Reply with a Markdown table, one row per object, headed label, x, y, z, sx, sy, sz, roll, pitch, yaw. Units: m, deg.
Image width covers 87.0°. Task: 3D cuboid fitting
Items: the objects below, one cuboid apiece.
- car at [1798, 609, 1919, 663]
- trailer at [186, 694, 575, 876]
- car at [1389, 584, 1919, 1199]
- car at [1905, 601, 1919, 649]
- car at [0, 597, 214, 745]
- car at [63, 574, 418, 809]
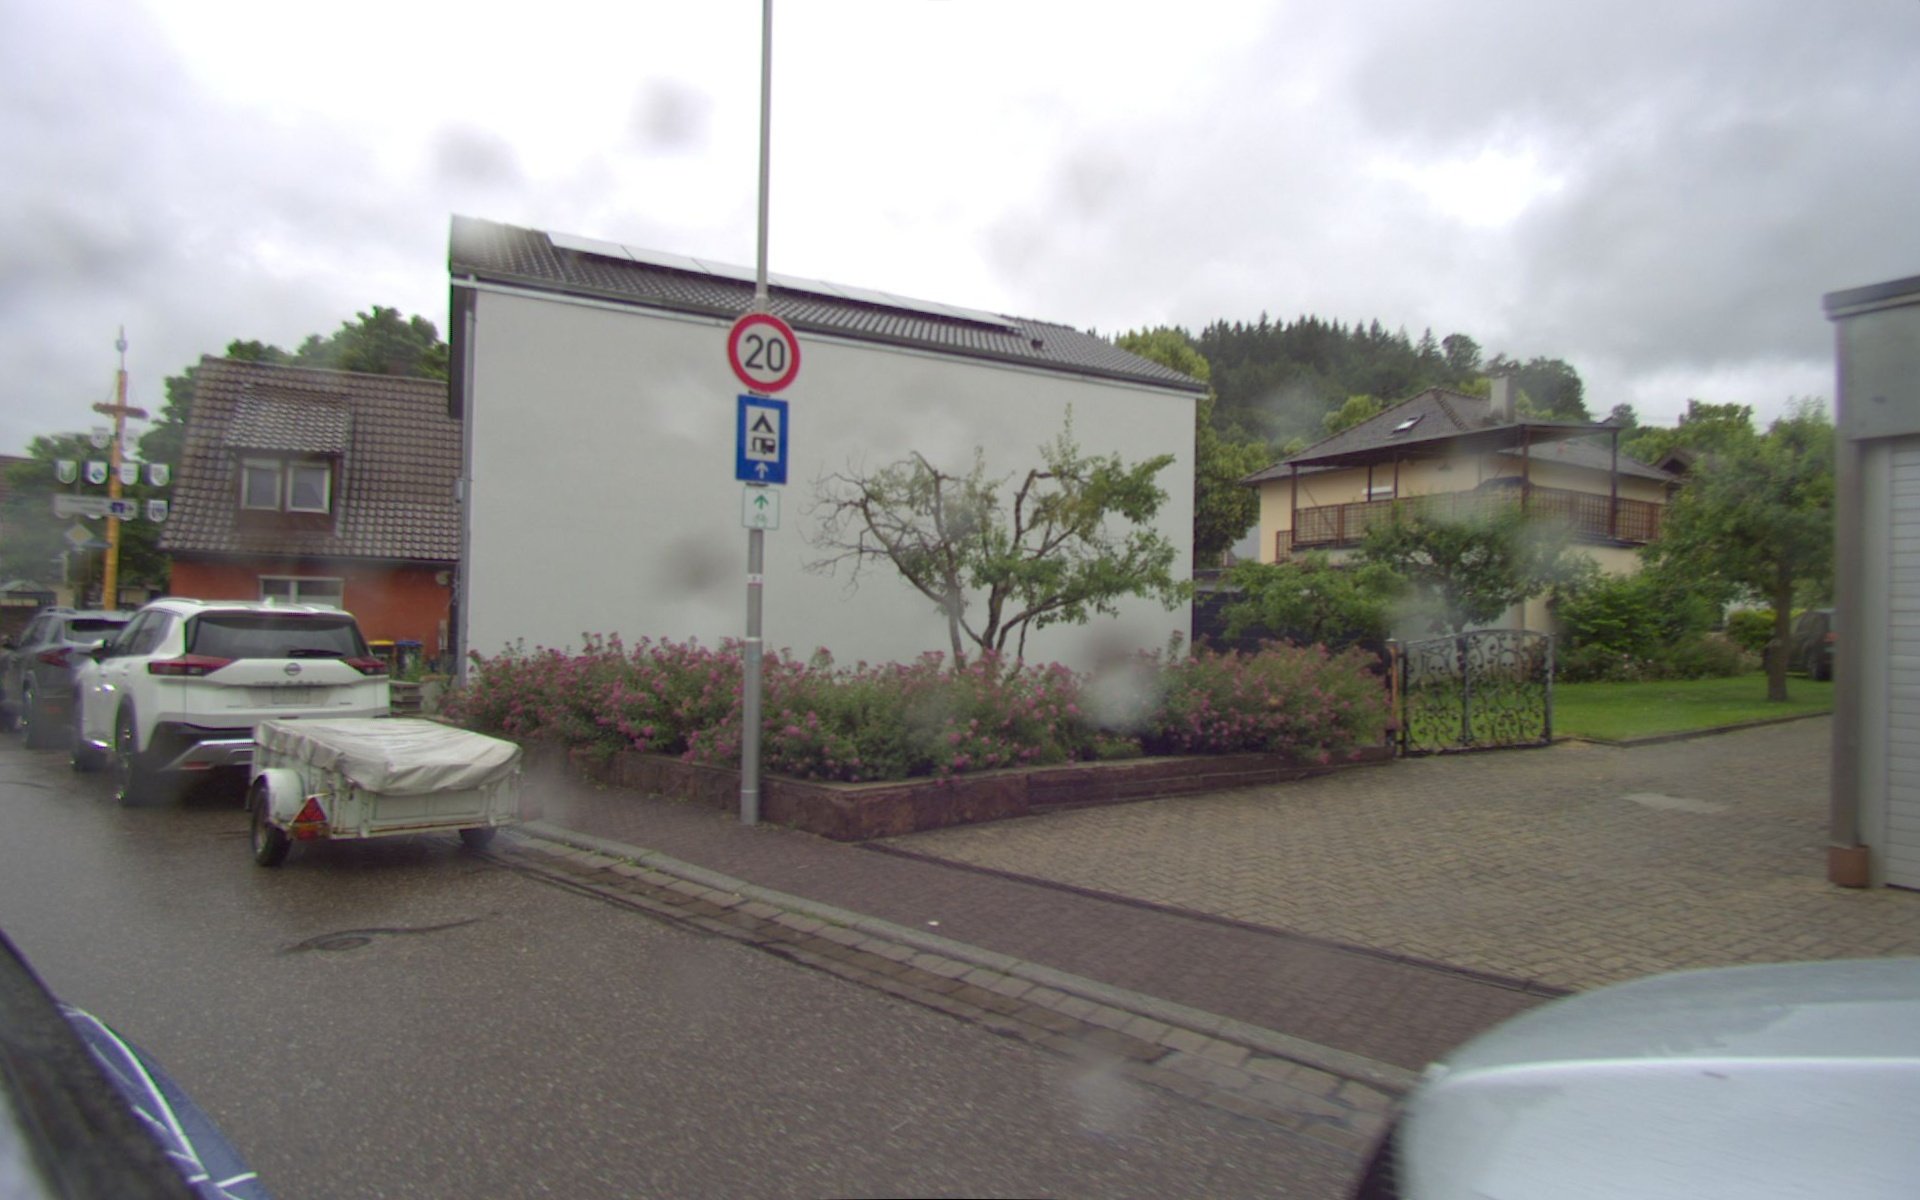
| label | x | y | z | sx | sy | sz | roll | pitch | yaw |
| --- | --- | --- | --- | --- | --- | --- | --- | --- | --- |
| car | 17.600 | 0.684 | 19.770 | 1.401 | 0.947 | 3.264 | -3 | -2 | 32 |
| trailer | -4.125 | 1.147 | 7.051 | 3.005 | 0.821 | 1.484 | -1 | -4 | 42 |
| car | 2.383 | 0.740 | 0.522 | 3.709 | 1.493 | 1.564 | -3 | -6 | 37 |
| car | 21.577 | 0.545 | 21.470 | 1.421 | 1.047 | 3.268 | -1 | -1 | 29 |
| car | -11.283 | 0.854 | 13.140 | 4.182 | 1.628 | 1.654 | -1 | -4 | 41 |
| car | -6.822 | 0.739 | 9.421 | 4.183 | 1.697 | 1.791 | -1 | -4 | 43 |
